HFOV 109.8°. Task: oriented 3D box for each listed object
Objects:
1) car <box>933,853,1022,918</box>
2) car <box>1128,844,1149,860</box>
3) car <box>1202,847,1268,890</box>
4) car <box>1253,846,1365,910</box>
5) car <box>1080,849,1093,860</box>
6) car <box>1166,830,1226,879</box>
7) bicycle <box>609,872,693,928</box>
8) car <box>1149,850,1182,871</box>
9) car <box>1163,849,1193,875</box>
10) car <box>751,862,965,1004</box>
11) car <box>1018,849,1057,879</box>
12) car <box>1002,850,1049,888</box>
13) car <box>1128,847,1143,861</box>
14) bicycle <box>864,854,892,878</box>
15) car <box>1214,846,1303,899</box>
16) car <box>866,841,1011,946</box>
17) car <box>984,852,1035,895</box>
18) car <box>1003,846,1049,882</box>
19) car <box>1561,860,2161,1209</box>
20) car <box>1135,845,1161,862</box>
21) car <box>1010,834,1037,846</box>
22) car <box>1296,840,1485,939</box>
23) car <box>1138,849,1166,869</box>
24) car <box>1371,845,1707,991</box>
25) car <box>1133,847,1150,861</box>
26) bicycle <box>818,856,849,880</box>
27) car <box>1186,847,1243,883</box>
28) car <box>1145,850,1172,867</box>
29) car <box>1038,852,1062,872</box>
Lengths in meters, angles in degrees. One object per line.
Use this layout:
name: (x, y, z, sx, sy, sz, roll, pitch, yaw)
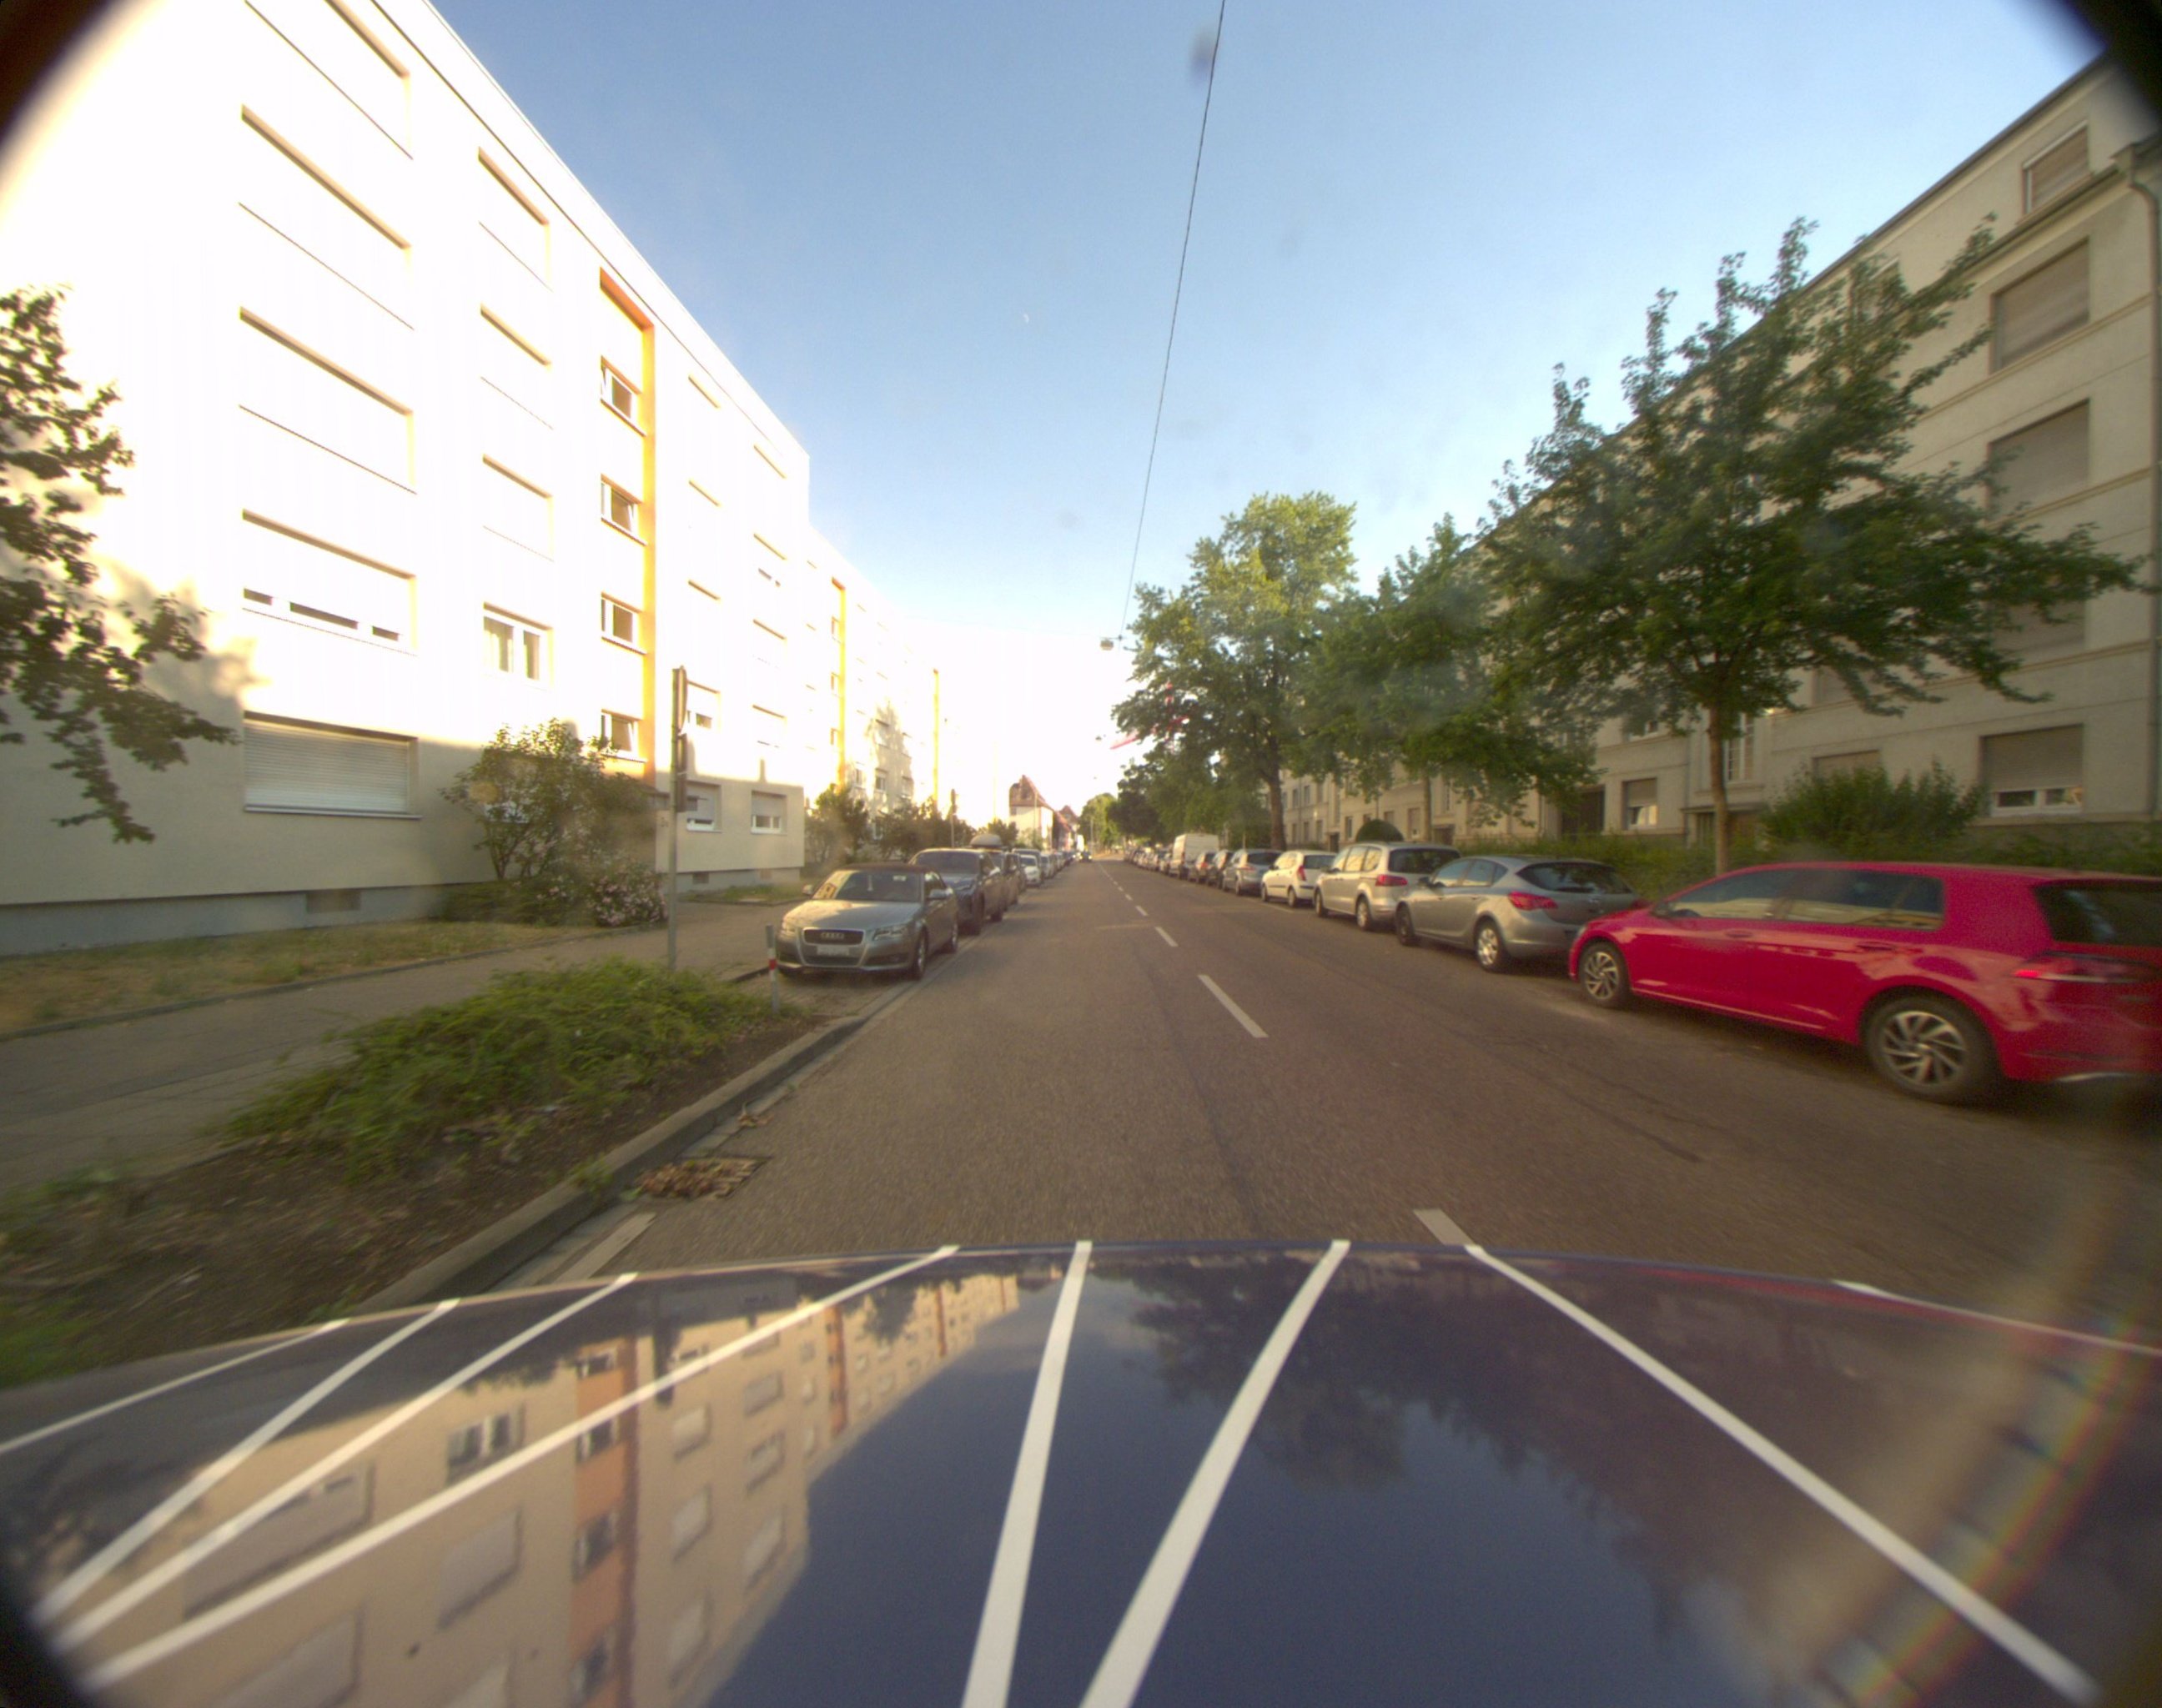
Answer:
car: (-2.801, 0.793, 21.520, 1.902, 1.641, 4.342, 0, 0, 0)
car: (6.846, -0.285, 91.391, 1.878, 1.749, 4.687, -3, 1, -3)
car: (6.473, 0.567, 32.418, 1.875, 1.549, 4.364, 3, 2, 0)
car: (6.288, 0.605, 21.466, 1.875, 1.549, 4.100, 2, 1, 0)
car: (0.731, 0.067, 102.709, 1.775, 1.492, 3.673, 0, 0, 1)
car: (6.429, -0.037, 43.426, 2.364, 2.432, 6.163, 5, 2, 0)
bicycle: (-8.974, 0.934, 15.945, 0.613, 1.015, 1.833, -2, 2, 3)
car: (6.609, 0.506, 60.073, 1.878, 1.348, 4.651, -5, 2, -1)
car: (6.268, 0.491, 49.322, 1.711, 1.565, 3.820, 2, 1, 5)
car: (-2.819, 0.911, 10.571, 1.745, 1.465, 3.999, 0, 2, 0)
car: (-2.492, 0.554, 44.465, 1.841, 1.493, 4.171, 4, 2, 2)
car: (-2.483, 0.632, 35.144, 1.683, 1.407, 4.722, 4, 2, 0)
car: (7.633, 0.019, 107.070, 1.846, 1.886, 4.486, -1, 2, 2)
bicycle: (-9.280, 0.558, 34.785, 0.601, 1.075, 2.393, 0, -1, 1)
car: (6.104, 0.590, 26.738, 1.875, 1.549, 5.056, 4, 0, 0)
car: (-2.697, 0.644, 15.563, 1.932, 1.649, 4.676, 5, 2, 0)
car: (-2.782, 0.724, 30.171, 1.610, 1.486, 4.041, 0, 2, 0)
car: (-2.830, 0.570, 40.035, 2.029, 1.739, 4.768, 0, -2, 0)
car: (5.852, 0.899, 5.648, 1.876, 1.549, 3.998, 1, 1, -2)
car: (6.589, -0.075, 75.076, 2.009, 1.543, 4.470, -2, 2, -1)
car: (-9.191, -2.266, 122.040, 3.996, 1.784, 2.000, -2, 2, 1)
car: (6.101, 0.582, 15.721, 1.921, 1.668, 4.972, -1, 2, 0)
car: (6.440, 0.401, 69.257, 1.879, 1.543, 3.998, 5, 1, -3)
car: (5.729, 0.713, 10.332, 1.875, 1.549, 4.498, 0, -1, 0)
car: (7.802, -0.020, 98.389, 1.878, 1.543, 3.998, -2, 2, -1)
bicycle: (-11.392, 0.632, 35.095, 0.601, 1.075, 2.393, 0, -1, 1)
car: (6.470, 0.494, 37.284, 1.962, 1.549, 4.345, 1, 2, 0)
car: (6.724, 0.358, 66.072, 1.878, 1.348, 3.998, -2, 2, -1)
car: (-2.485, 0.635, 62.089, 1.878, 1.434, 3.998, 1, 1, -2)
